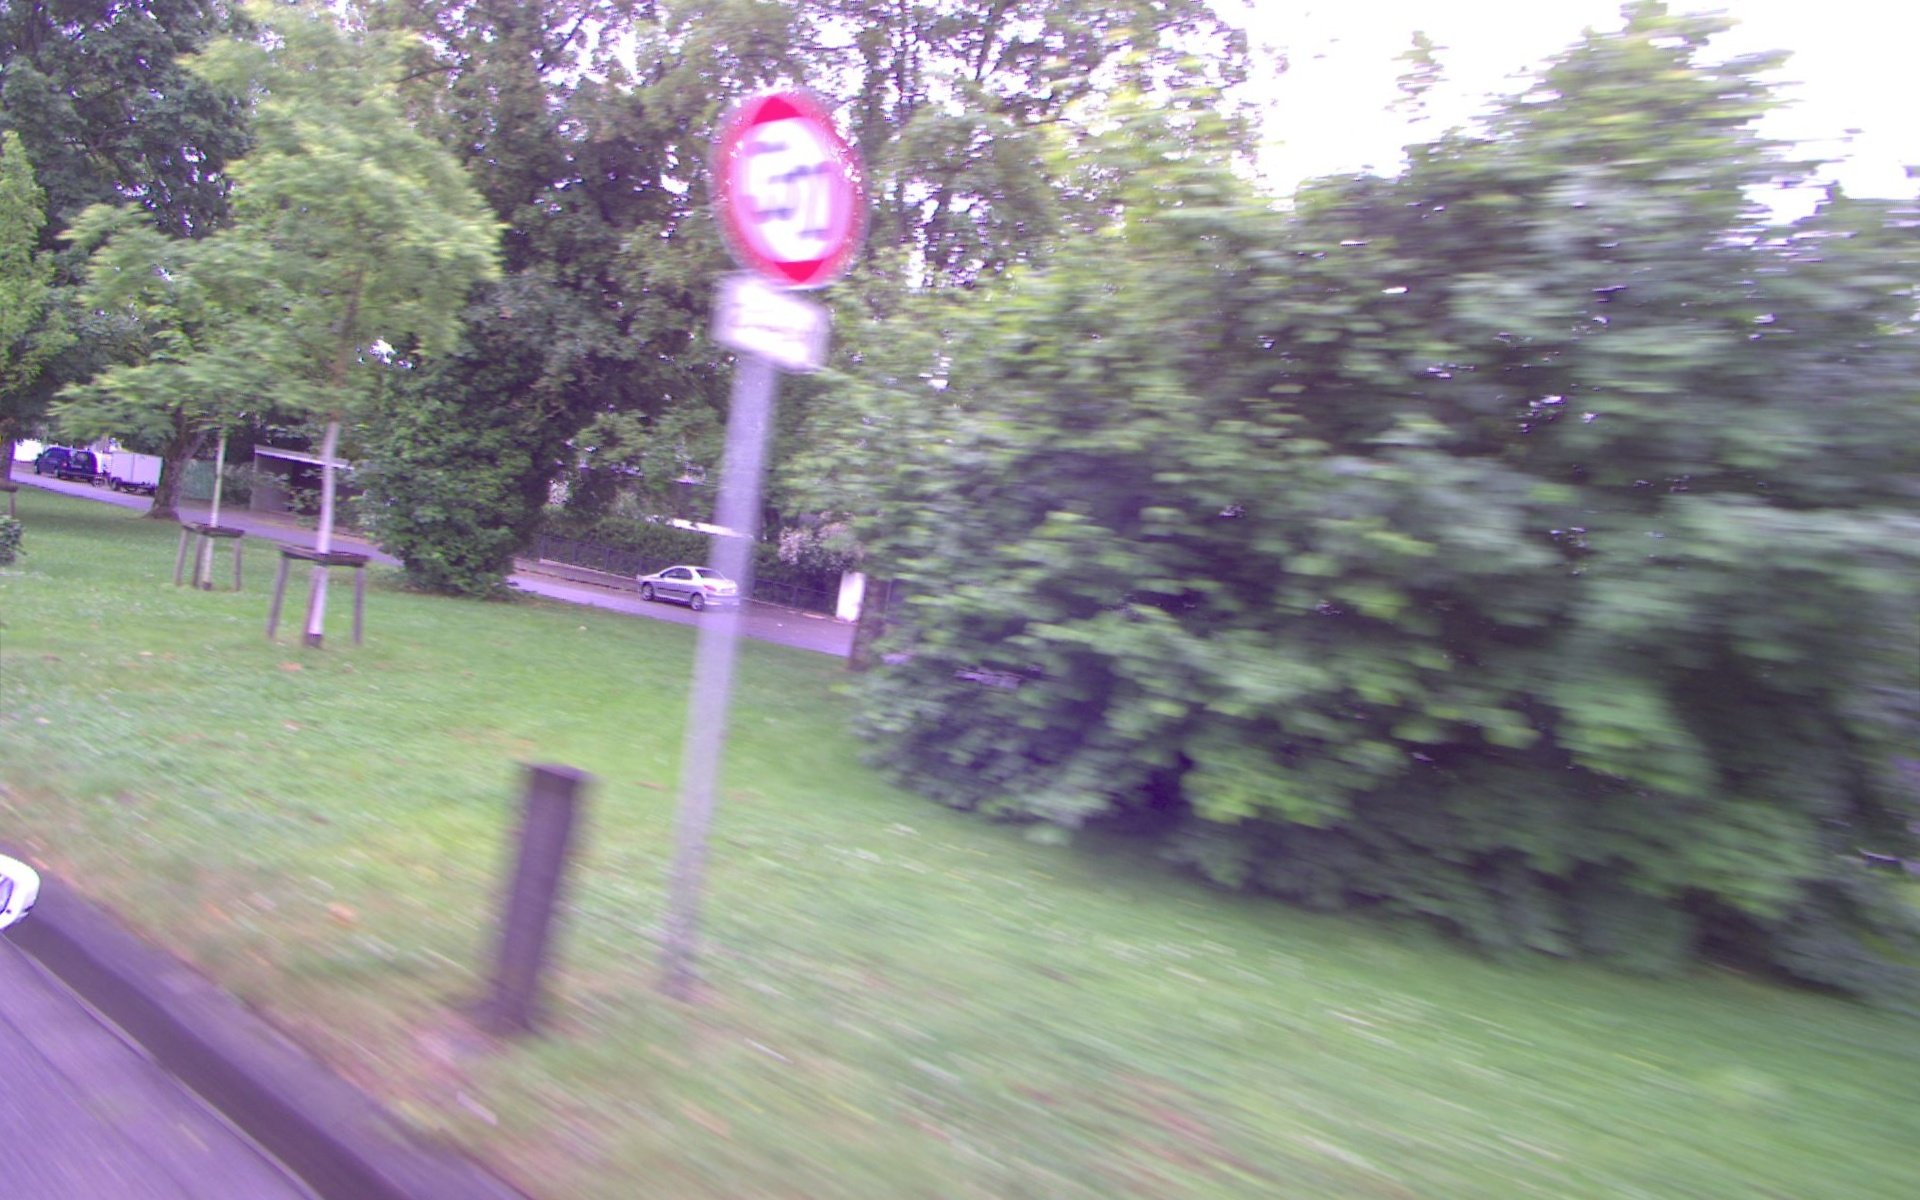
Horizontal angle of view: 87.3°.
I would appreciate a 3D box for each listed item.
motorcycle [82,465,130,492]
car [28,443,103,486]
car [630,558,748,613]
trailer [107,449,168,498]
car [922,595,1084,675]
[{"bbox_3d":[-46.557,-6.622,54.878,1.876,1.107,0.651,8,3,-38],"label":"motorcycle"},{"bbox_3d":[-52.203,-7.886,58.684,4.570,1.833,1.942,10,4,30],"label":"car"},{"bbox_3d":[-9.150,-0.500,33.878,3.647,1.394,1.682,8,3,30],"label":"car"},{"bbox_3d":[-44.068,-6.788,53.924,2.899,2.183,1.437,9,4,28],"label":"trailer"},{"bbox_3d":[1.194,0.958,28.123,3.966,1.645,1.904,8,1,30],"label":"car"}]
